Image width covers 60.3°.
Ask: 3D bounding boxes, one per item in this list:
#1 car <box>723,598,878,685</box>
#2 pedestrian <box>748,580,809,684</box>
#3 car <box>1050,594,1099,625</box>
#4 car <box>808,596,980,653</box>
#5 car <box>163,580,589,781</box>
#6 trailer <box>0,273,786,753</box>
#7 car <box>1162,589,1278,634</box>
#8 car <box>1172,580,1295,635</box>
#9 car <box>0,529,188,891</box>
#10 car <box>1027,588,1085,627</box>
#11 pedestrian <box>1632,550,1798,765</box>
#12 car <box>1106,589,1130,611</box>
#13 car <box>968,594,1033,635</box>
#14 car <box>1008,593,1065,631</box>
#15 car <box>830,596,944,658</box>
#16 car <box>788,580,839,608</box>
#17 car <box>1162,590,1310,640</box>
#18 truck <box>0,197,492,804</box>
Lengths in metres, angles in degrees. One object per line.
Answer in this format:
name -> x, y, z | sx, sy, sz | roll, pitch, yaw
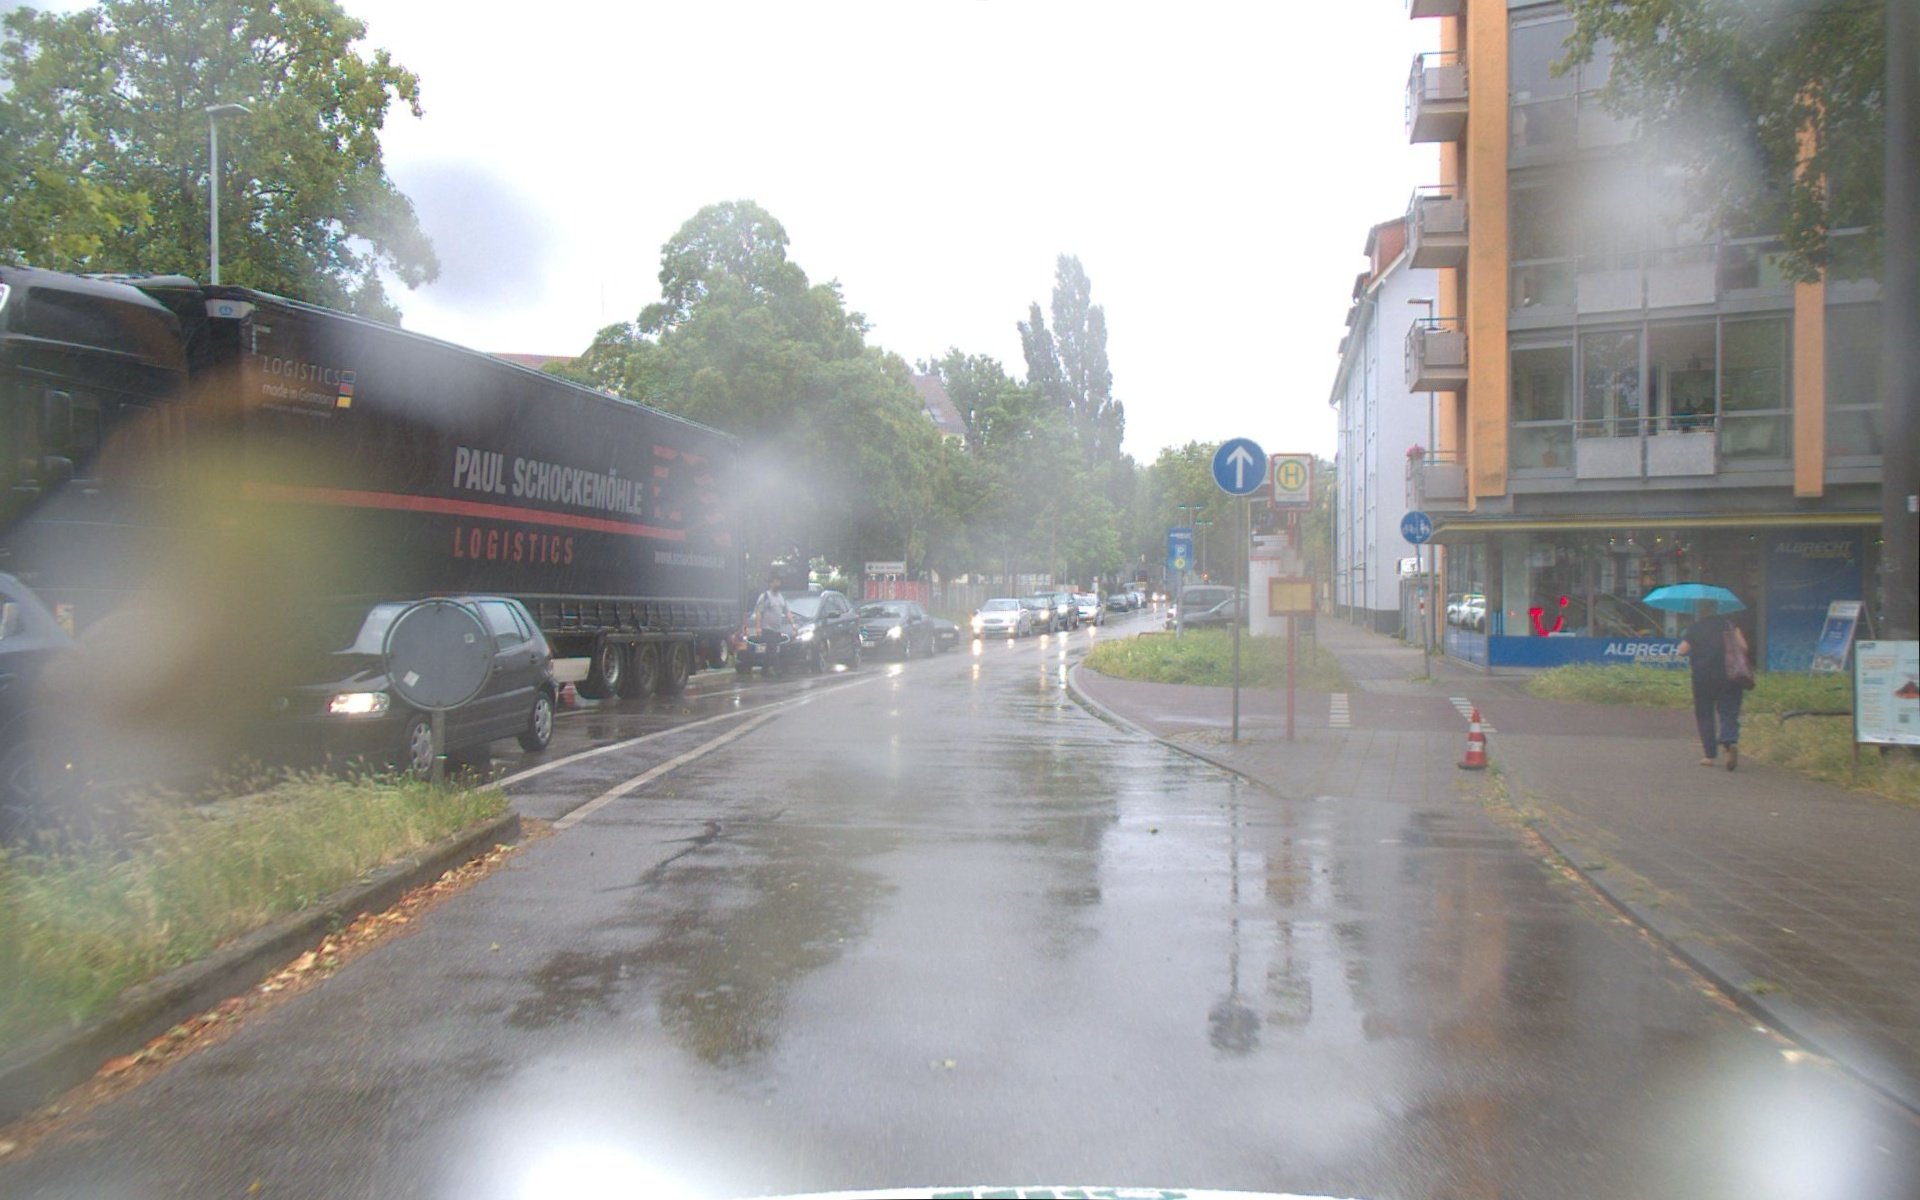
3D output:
car -> -3.175, 0.845, 34.014 | 1.827, 1.648, 4.806 | 0, -1, 12
pedestrian -> -3.359, 0.569, 30.613 | 0.857, 1.876, 0.984 | 0, 0, -24
car -> 5.583, 0.440, 80.188 | 1.637, 1.407, 4.255 | 0, 0, 14
car -> -1.904, 0.649, 46.426 | 4.843, 1.479, 2.073 | 0, 1, 43
car -> -4.594, 0.537, 13.724 | 1.662, 1.397, 4.103 | 0, 1, 7
trailer -> -6.130, -0.813, 21.930 | 3.368, 4.119, 15.064 | 0, 0, 11
car -> 9.469, 0.422, 60.303 | 4.100, 1.596, 1.890 | 0, 0, 9
car -> 9.514, 0.255, 57.695 | 4.142, 1.837, 1.946 | -1, 0, 7
car -> -5.676, 0.527, 7.120 | 2.030, 1.711, 4.933 | 2, 2, 5
car -> 4.350, 0.340, 74.268 | 1.873, 1.668, 4.826 | 1, 0, 12
pedestrian -> 6.994, 0.504, 15.412 | 1.145, 1.897, 1.386 | 0, 0, 13
car -> 12.505, -0.022, 131.267 | 1.738, 1.556, 4.003 | 1, 2, 4
car -> 1.528, 0.502, 60.421 | 1.737, 1.428, 4.834 | 1, 0, 9
car -> 3.142, 0.457, 67.525 | 1.741, 1.445, 4.269 | 0, 1, 11
car -> -1.714, 0.629, 40.275 | 1.689, 1.385, 4.341 | -1, 0, 12
car -> -8.801, -0.361, 98.970 | 1.821, 1.600, 3.969 | 1, -1, -24
car -> 8.570, 0.476, 51.306 | 4.436, 1.496, 1.985 | 0, 0, 11
truck -> -7.449, -0.732, 15.050 | 3.376, 4.149, 6.980 | 0, 1, 11
